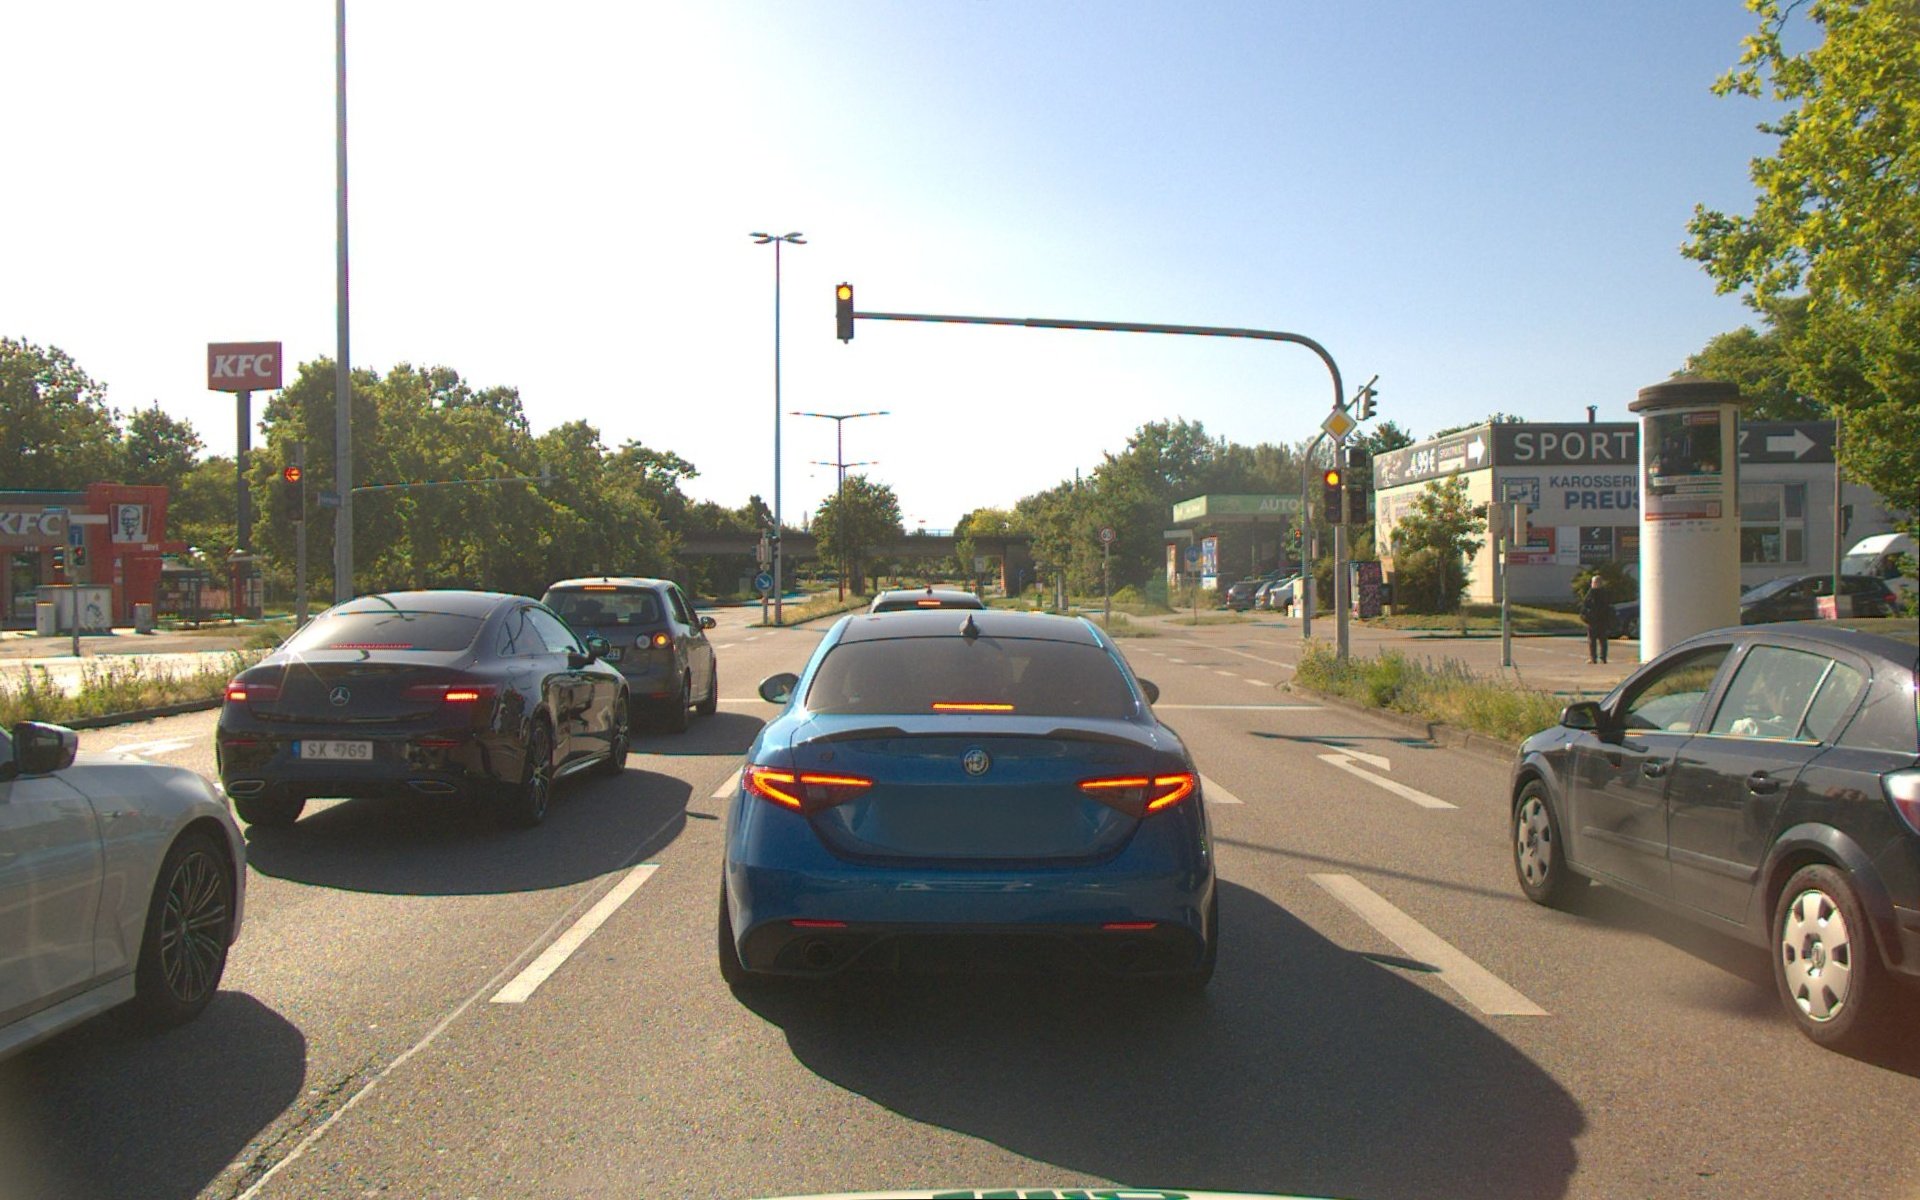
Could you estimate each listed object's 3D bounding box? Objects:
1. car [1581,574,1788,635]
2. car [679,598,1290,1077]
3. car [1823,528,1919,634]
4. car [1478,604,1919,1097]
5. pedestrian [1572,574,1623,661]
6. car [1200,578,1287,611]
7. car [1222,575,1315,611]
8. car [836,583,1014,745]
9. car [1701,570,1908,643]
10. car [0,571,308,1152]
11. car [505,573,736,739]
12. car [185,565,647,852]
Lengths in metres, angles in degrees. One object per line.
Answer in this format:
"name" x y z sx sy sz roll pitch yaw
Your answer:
"car" 19.160 0.121 43.845 4.722 1.493 1.758 1 0 -3
"car" 0.105 0.743 6.989 1.870 1.447 3.719 1 0 1
"car" 26.303 -0.543 43.902 5.715 2.719 2.000 -1 0 0
"car" 3.730 0.778 6.882 1.699 1.467 4.370 1 0 -1
"pedestrian" 12.680 0.344 32.912 0.800 1.698 0.514 1 -1 -1
"car" 14.475 -0.281 84.413 3.925 1.579 1.990 1 0 -18
"car" 14.101 -0.308 75.781 3.905 1.579 2.000 1 0 0
"car" -0.305 0.619 17.665 1.669 1.523 3.719 1 0 1
"car" 20.490 0.156 40.226 4.219 1.678 1.637 1 0 -2
"car" -3.380 0.677 4.018 1.775 1.512 4.596 0 0 0
"car" -3.587 0.552 18.239 1.776 1.578 4.351 1 0 -2
"car" -3.439 0.589 11.437 1.775 1.578 4.542 1 0 -1
